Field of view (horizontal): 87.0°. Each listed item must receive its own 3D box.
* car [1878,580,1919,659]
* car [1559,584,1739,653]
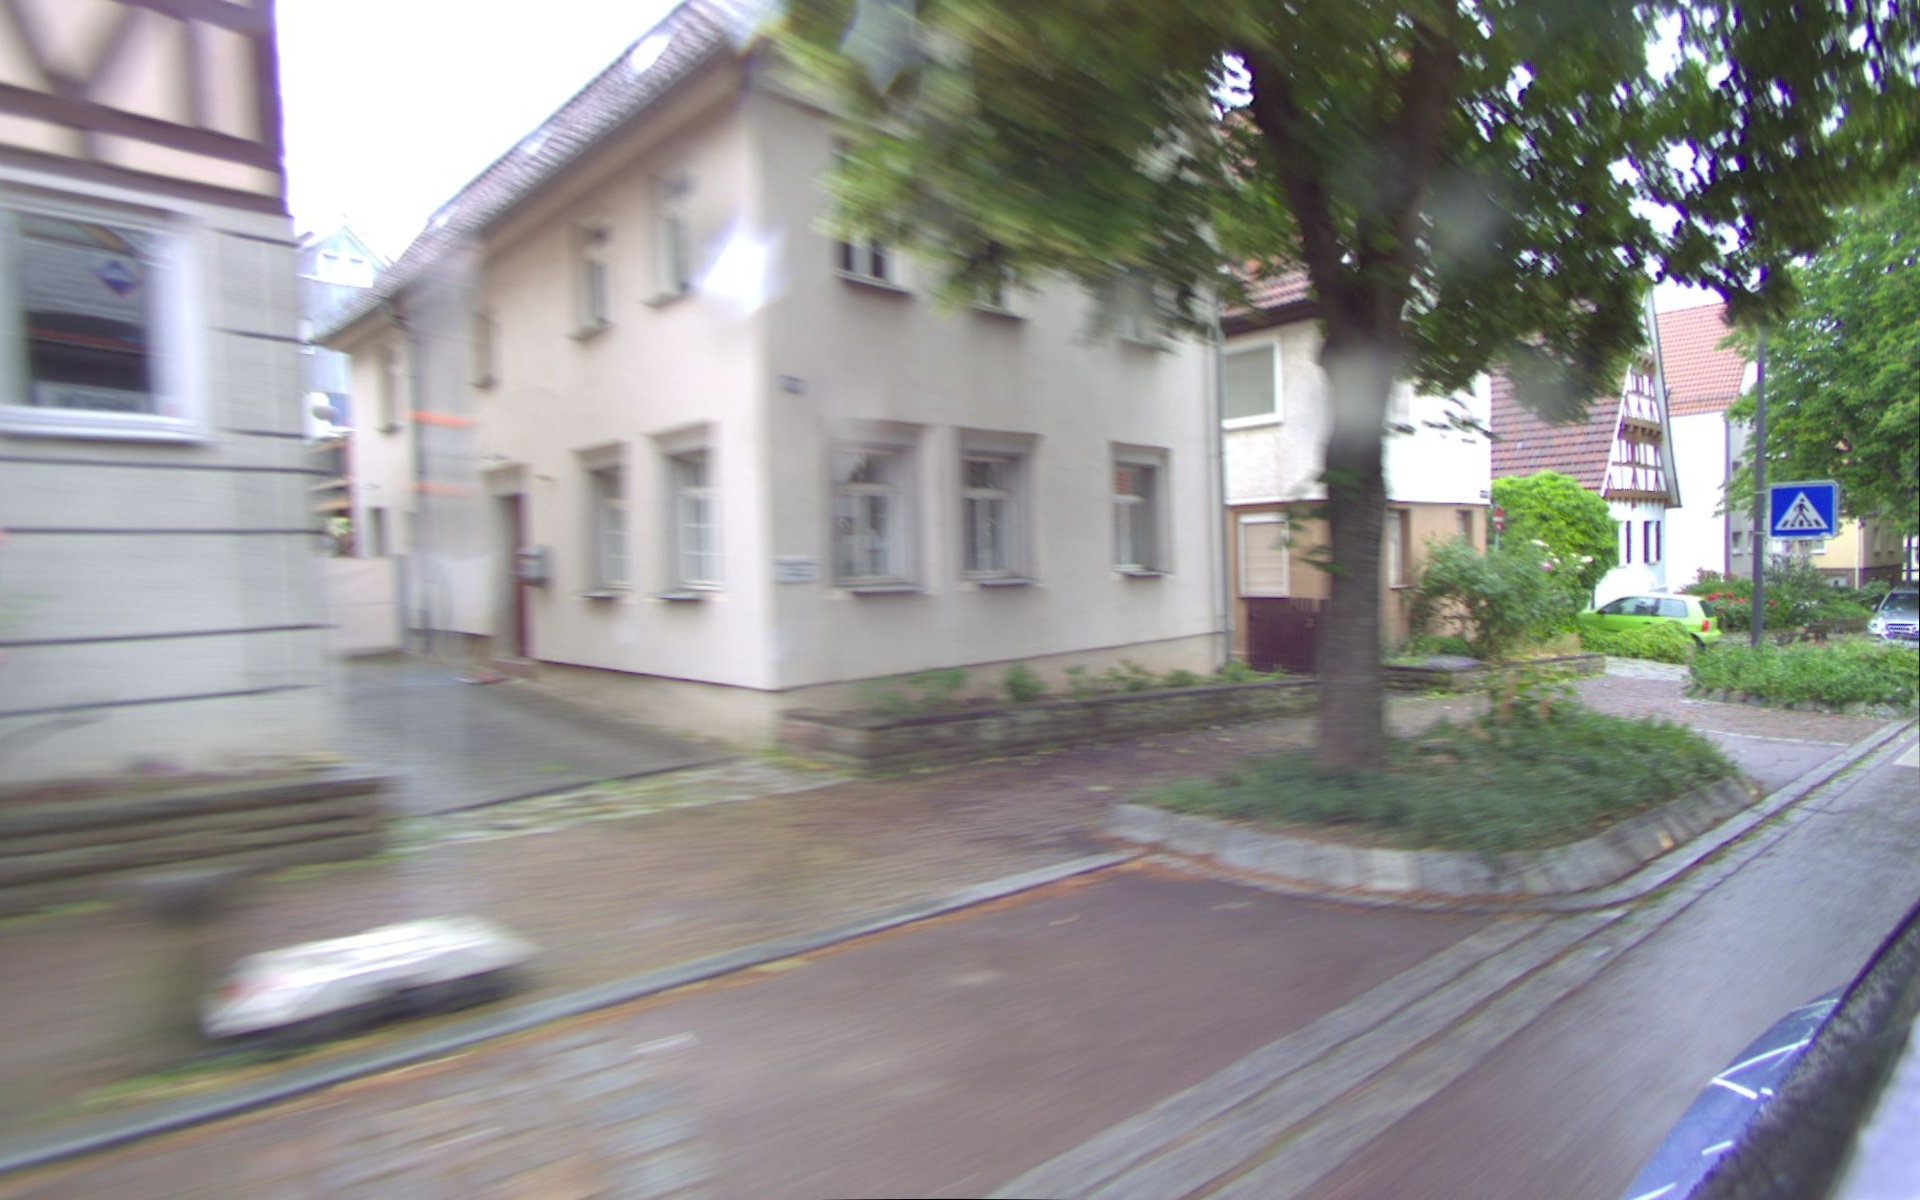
[{"bbox_3d":[23.816,0.427,24.478,4.411,1.815,1.917,-1,1,-42],"label":"car"},{"bbox_3d":[16.831,0.398,24.801,1.604,1.448,3.368,-1,3,-44],"label":"car"}]
